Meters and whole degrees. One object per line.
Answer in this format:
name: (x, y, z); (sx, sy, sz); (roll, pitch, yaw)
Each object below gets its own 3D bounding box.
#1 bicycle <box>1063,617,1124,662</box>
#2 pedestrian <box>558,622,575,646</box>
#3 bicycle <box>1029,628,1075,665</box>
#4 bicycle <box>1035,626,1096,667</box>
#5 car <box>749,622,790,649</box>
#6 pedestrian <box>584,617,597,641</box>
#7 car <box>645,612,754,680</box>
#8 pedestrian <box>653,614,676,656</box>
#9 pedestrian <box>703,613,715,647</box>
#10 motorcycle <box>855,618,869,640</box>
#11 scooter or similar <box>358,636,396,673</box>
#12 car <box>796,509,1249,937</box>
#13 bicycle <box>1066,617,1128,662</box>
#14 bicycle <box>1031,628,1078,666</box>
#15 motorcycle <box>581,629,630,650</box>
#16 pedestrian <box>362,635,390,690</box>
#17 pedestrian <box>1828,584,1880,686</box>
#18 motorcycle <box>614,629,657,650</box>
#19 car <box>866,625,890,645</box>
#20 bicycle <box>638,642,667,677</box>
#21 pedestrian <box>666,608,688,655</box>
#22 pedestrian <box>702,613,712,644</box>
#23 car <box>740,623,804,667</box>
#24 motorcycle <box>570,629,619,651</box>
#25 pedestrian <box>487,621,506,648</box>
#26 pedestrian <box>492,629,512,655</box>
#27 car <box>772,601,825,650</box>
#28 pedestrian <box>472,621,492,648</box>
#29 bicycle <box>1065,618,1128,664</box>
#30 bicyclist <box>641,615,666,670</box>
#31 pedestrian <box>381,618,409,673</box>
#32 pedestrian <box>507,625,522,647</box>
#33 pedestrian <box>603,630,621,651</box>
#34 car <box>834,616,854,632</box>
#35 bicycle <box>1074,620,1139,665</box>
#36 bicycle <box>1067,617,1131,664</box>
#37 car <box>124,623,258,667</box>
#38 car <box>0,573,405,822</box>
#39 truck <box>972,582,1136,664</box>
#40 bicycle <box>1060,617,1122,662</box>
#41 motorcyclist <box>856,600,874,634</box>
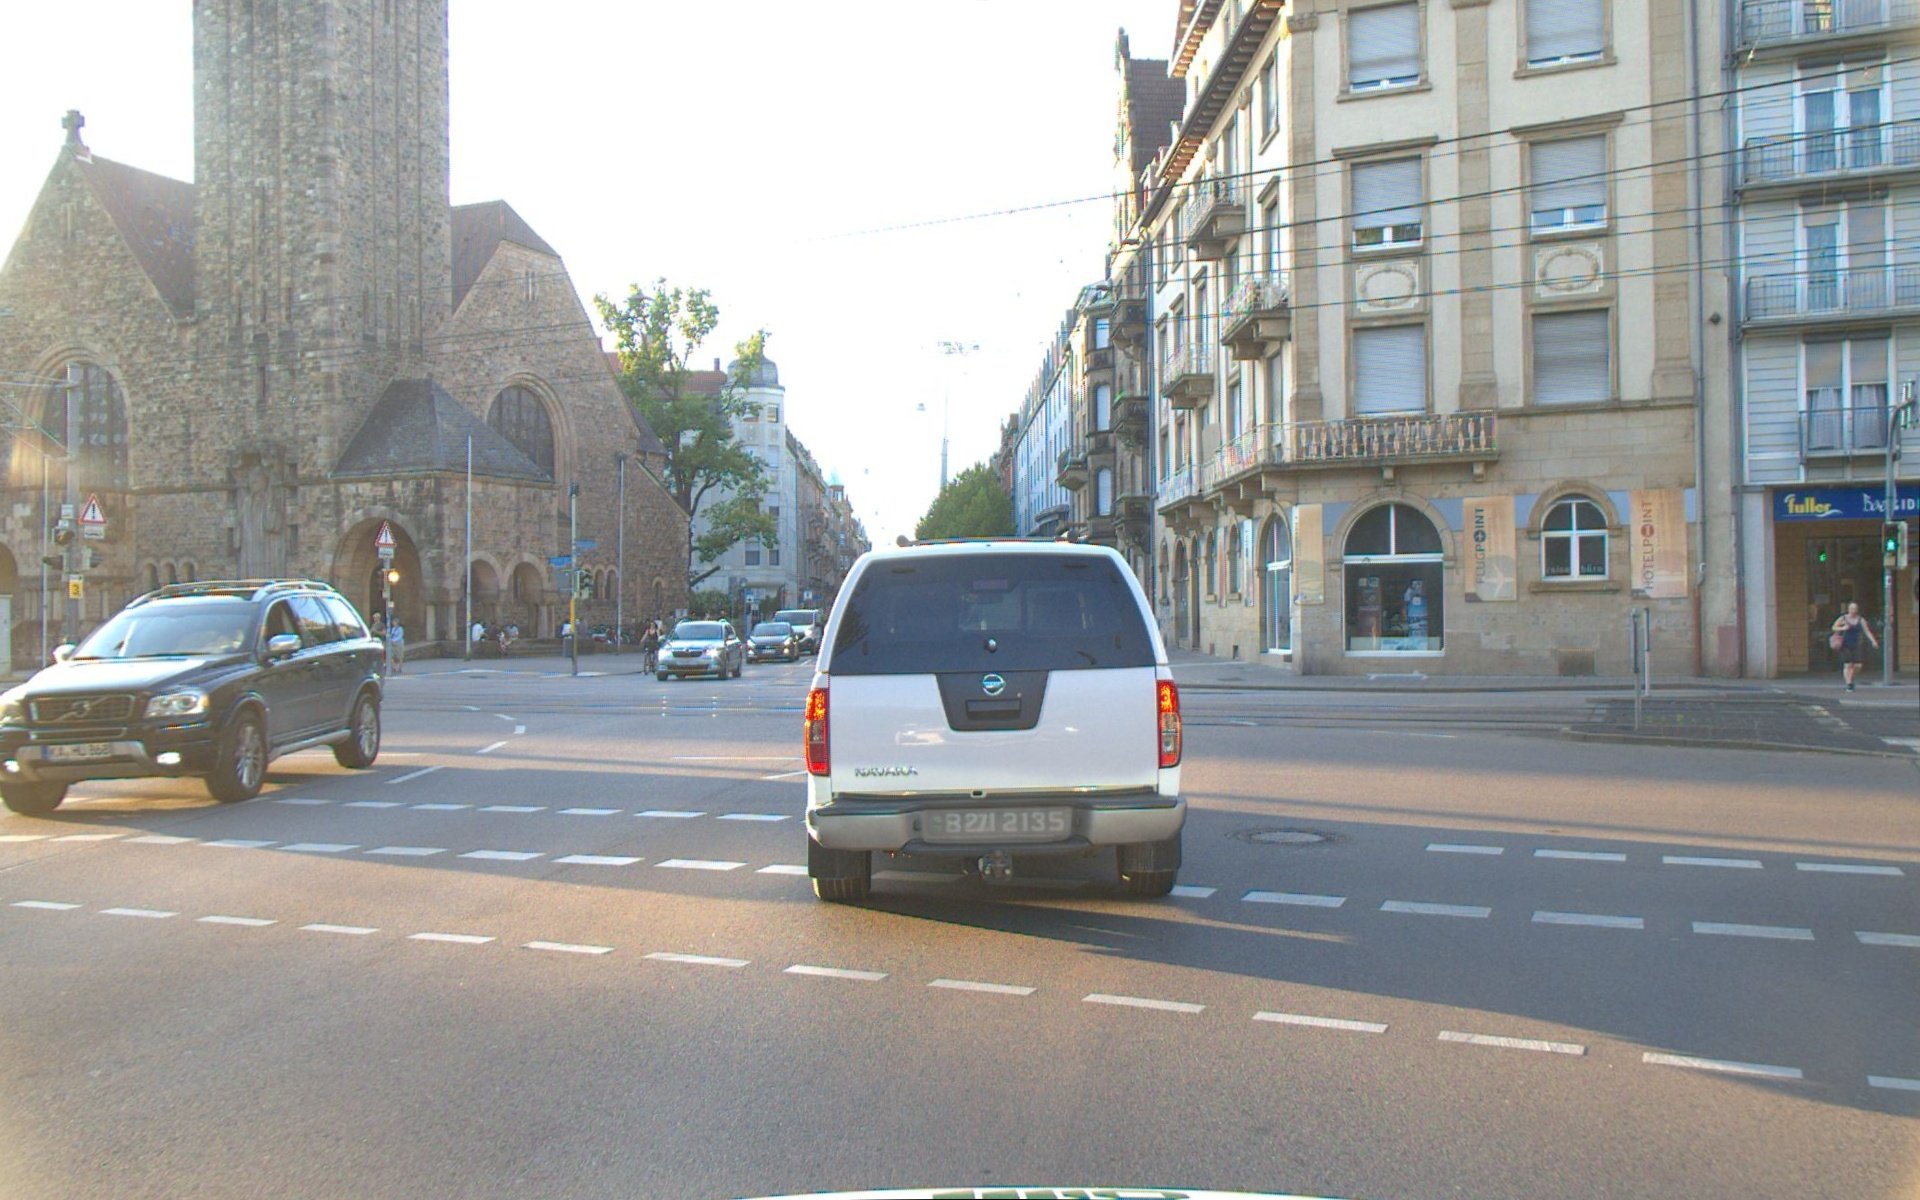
bicycle: (4.145, 1.220, 51.444); (1.781, 1.259, 0.410); (-4, -1, -3)
pedestrian: (-15.831, 1.369, 66.578); (0.510, 0.977, 0.479); (0, -1, 17)
bicycle: (2.836, 1.447, 51.059); (1.306, 1.042, 0.317); (-4, -1, -3)
bicycle: (3.118, 1.377, 48.919); (1.692, 1.102, 0.317); (-4, -1, -3)
car: (-10.337, 1.938, 89.764); (1.821, 1.423, 3.999); (0, -1, -1)
pedestrian: (-14.858, 1.173, 66.492); (0.513, 0.977, 0.477); (0, -1, -16)
car: (-6.605, 1.139, 42.425); (1.952, 1.585, 4.768); (-2, -1, 0)
pedestrian: (-12.134, 1.423, 67.859); (0.796, 1.699, 0.859); (0, -1, -2)
pedestrian: (-13.967, 1.677, 92.004); (0.632, 1.888, 0.559); (0, -1, -15)
motorcycle: (-4.785, 1.421, 80.948); (0.587, 1.062, 1.945); (0, -1, -1)
scooter or similar: (-18.062, 1.694, 51.255); (0.620, 1.123, 1.079); (-1, -1, 11)
car: (0.270, 0.567, 9.150); (1.953, 1.841, 3.999); (0, -1, 0)
bicycle: (4.217, 1.209, 50.839); (1.781, 1.259, 0.412); (-4, -1, -3)
bicycle: (2.886, 1.436, 50.513); (1.344, 1.042, 0.317); (-4, -1, -3)
motorcycle: (-17.112, 1.925, 79.883); (2.200, 1.005, 0.707); (0, -1, -6)
pedestrian: (-18.523, 1.970, 52.477); (0.620, 1.728, 0.603); (0, -1, 12)
pedestrian: (16.208, 0.633, 30.005); (0.771, 1.810, 0.543); (-1, -1, 25)
motorcycle: (-16.116, 1.968, 82.174); (2.120, 1.005, 0.594); (0, -1, 20)
car: (-6.732, 2.870, 136.087); (1.821, 1.556, 3.998); (0, -1, -2)
bicycle: (-9.517, 1.835, 51.200); (0.587, 1.062, 1.945); (0, -1, -1)
pedestrian: (-11.617, 1.287, 67.880); (0.796, 1.934, 0.666); (0, -1, -2)
pedestrian: (-14.215, 1.608, 92.843); (0.549, 1.725, 0.643); (0, -1, -8)
car: (-6.973, 1.652, 61.597); (1.953, 1.503, 4.138); (-2, 0, -1)
motorcycle: (-17.199, 1.888, 77.855); (2.200, 1.005, 0.707); (0, -1, -6)
pedestrian: (-17.056, 1.263, 60.867); (0.511, 0.977, 0.479); (0, -1, 19)
pedestrian: (-17.183, 1.564, 62.031); (0.469, 0.977, 0.522); (-1, -1, 29)
car: (-7.163, 1.136, 73.583); (1.953, 2.049, 4.948); (-1, -1, -1)
pedestrian: (-17.667, 1.268, 61.140); (0.511, 0.977, 0.479); (0, -1, 19)
bicycle: (4.121, 1.230, 50.112); (1.781, 1.259, 0.477); (-4, -1, -3)
bicyclist: (-9.504, 1.313, 51.307); (0.587, 1.673, 0.963); (0, -1, -2)
pedestrian: (-17.869, 1.431, 52.332); (0.620, 1.728, 0.603); (0, -1, 11)
pedestrian: (-19.423, 1.573, 72.123); (0.541, 0.977, 0.708); (0, -1, -7)
pedestrian: (-16.381, 1.887, 77.833); (0.540, 0.977, 0.709); (0, -1, 20)
car: (-11.957, 2.479, 170.651); (1.821, 1.556, 3.999); (0, -1, -1)
bicycle: (4.287, 1.239, 48.461); (1.781, 1.170, 0.636); (-4, -1, -3)
bicycle: (4.162, 1.212, 49.402); (1.781, 1.259, 0.488); (-4, -1, -3)
car: (-28.161, 1.622, 60.690); (1.679, 1.543, 4.453); (-1, -1, 24)
car: (-6.677, 0.726, 14.675); (1.953, 1.815, 4.796); (-1, 0, -1)
truck: (3.196, 0.751, 55.026); (5.629, 2.610, 2.251); (0, -1, -44)
bicycle: (4.101, 1.232, 51.975); (1.818, 1.259, 0.530); (-4, -1, -3)
motorcyclist: (-4.641, 0.827, 80.996); (0.857, 1.673, 0.963); (0, -1, -2)
